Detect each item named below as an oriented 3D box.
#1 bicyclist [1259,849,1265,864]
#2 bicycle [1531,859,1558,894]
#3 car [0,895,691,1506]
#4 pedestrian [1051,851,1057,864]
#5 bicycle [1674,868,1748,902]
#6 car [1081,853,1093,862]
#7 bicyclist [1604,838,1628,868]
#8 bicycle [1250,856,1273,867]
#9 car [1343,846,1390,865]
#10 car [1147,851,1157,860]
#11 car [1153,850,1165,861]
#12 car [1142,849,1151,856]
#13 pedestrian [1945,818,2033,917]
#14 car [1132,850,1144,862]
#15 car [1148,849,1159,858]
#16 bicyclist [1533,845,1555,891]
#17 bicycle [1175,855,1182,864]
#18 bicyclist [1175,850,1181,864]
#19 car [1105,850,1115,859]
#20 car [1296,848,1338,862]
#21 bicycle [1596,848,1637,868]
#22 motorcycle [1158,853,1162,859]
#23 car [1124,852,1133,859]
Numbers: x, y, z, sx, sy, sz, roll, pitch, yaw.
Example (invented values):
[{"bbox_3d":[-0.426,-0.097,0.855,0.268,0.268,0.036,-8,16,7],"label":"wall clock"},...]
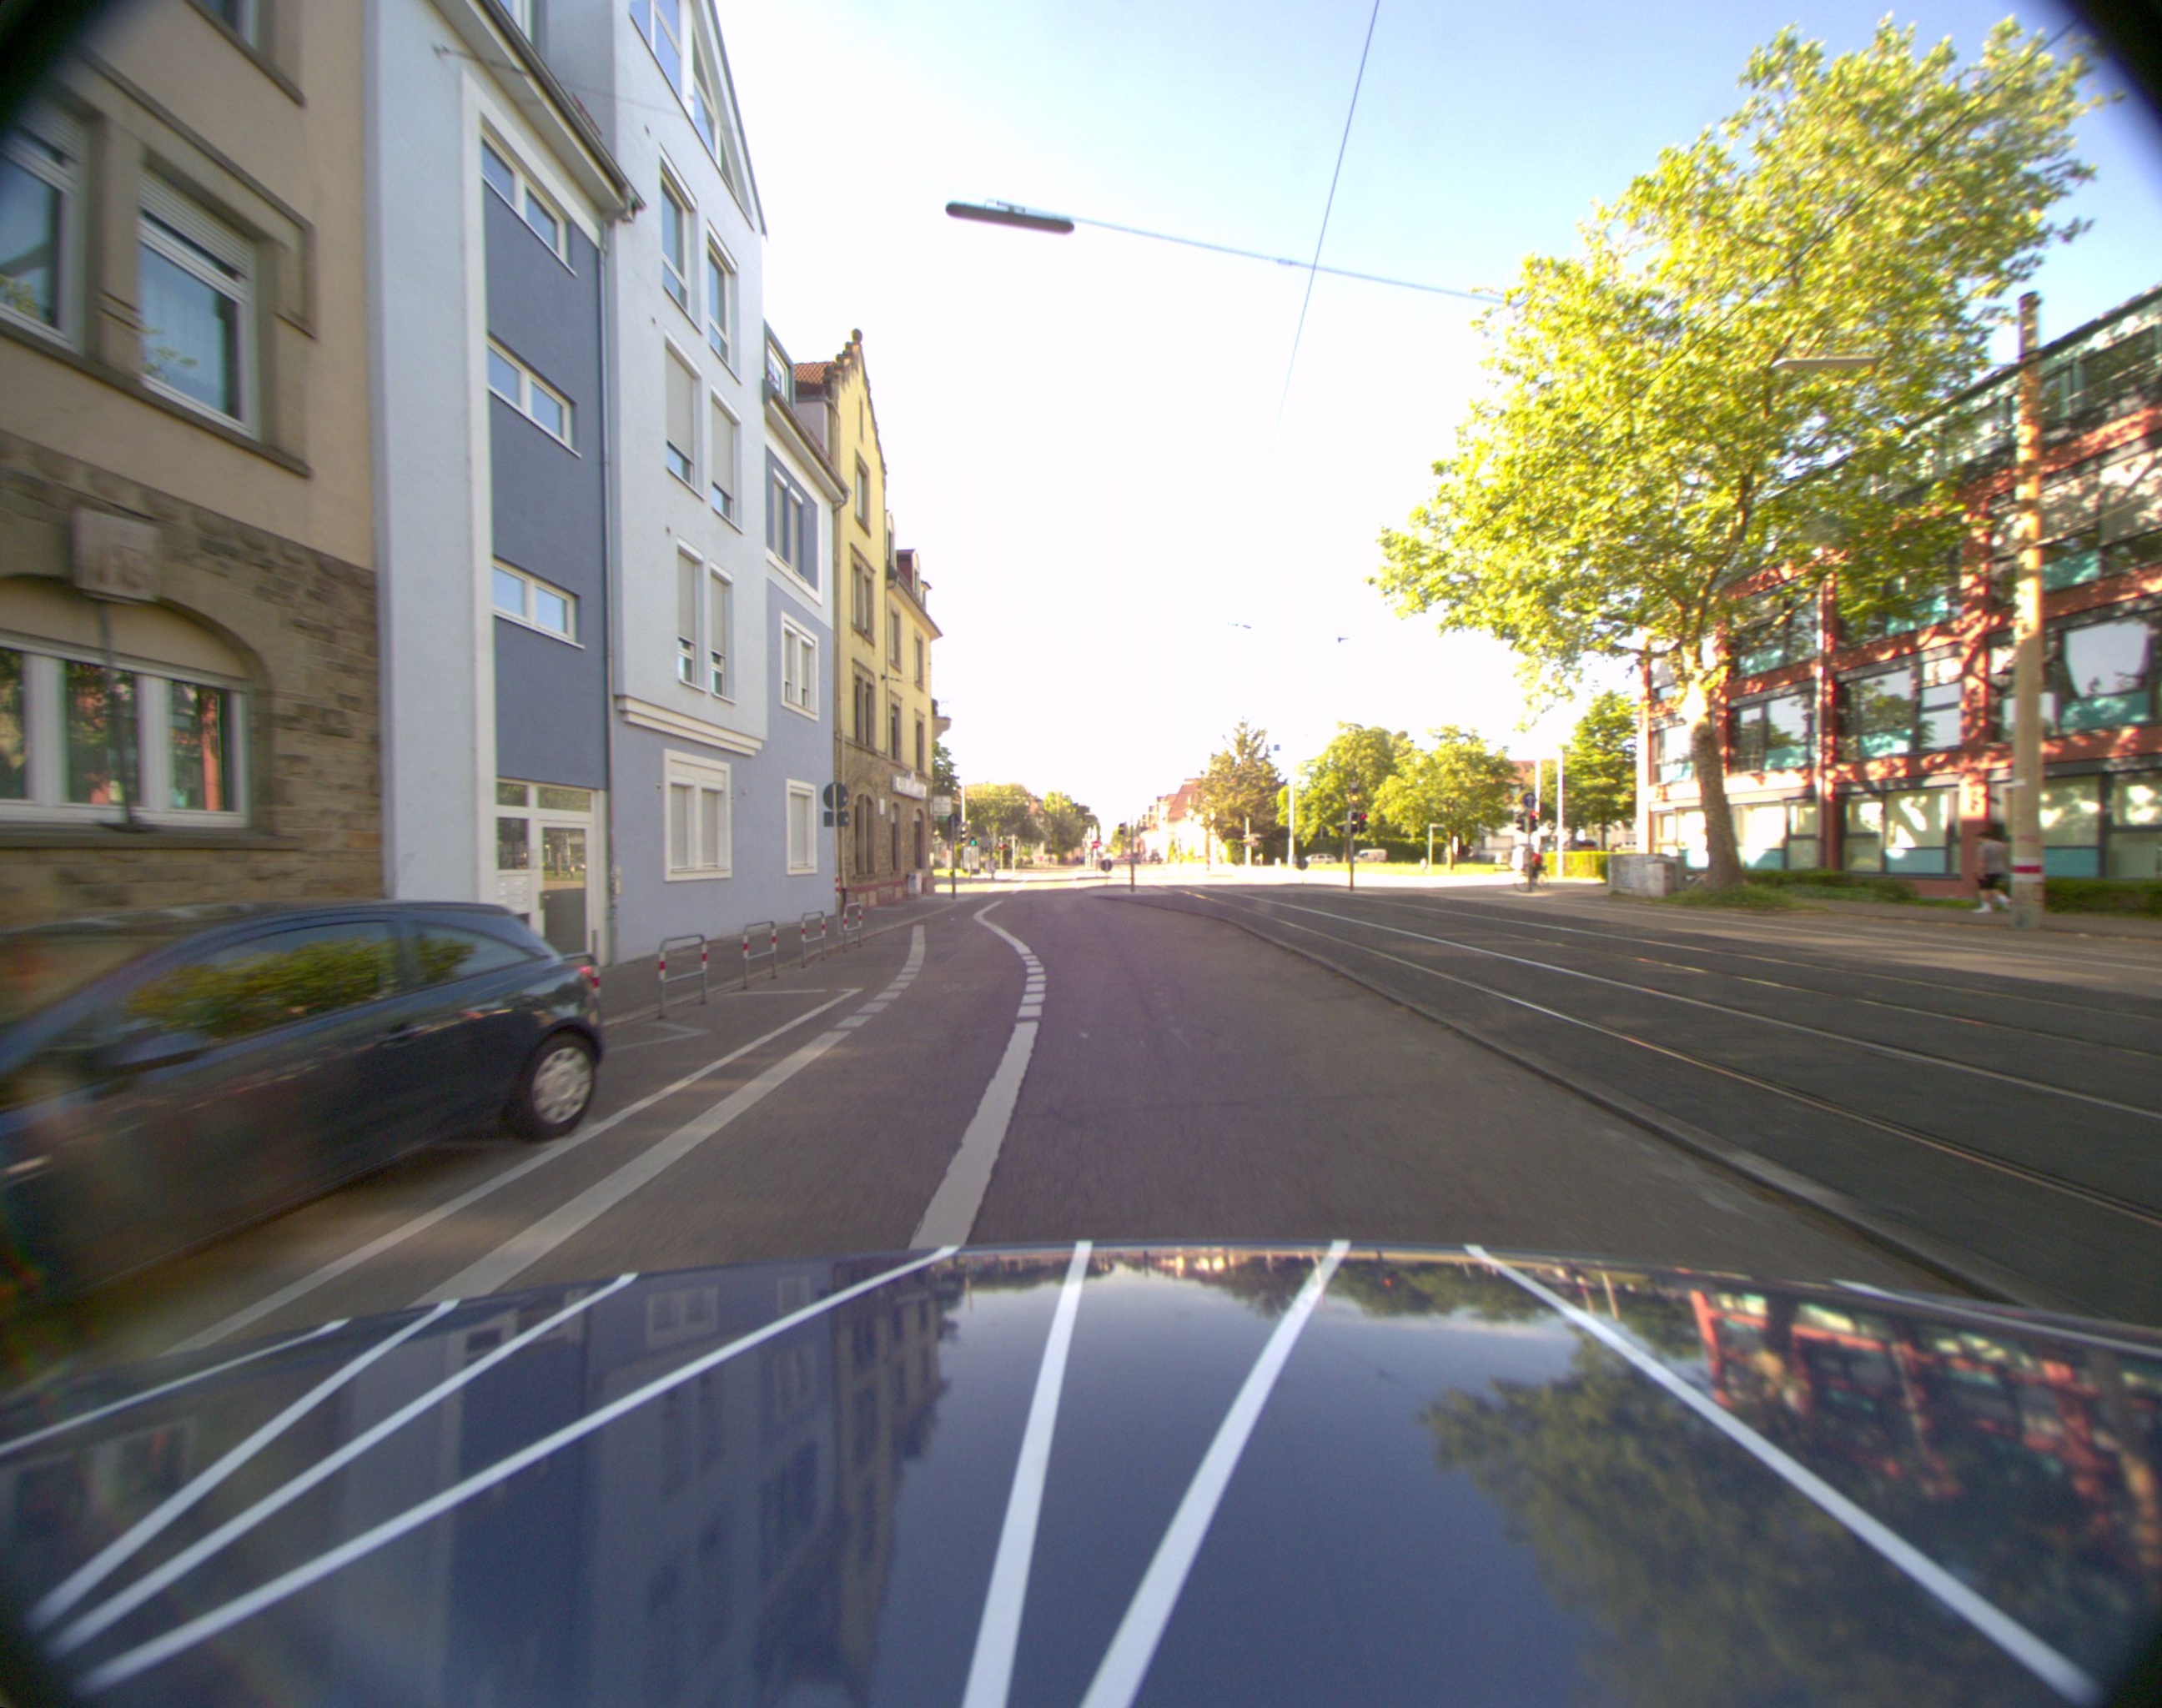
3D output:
[{"bbox_3d":[19.214,0.244,80.477,0.559,1.613,0.899,-1,1,10],"label":"bicyclist"},{"bbox_3d":[17.691,0.851,29.034,0.632,1.123,2.038,-6,1,27],"label":"bicycle"},{"bbox_3d":[-3.768,1.071,3.561,1.659,1.474,4.000,-2,0,2],"label":"car"},{"bbox_3d":[-3.545,0.463,99.034,0.655,1.664,0.943,1,1,5],"label":"pedestrian"},{"bbox_3d":[17.702,0.855,21.394,0.522,0.901,1.541,-1,1,-21],"label":"bicycle"},{"bbox_3d":[1.120,0.619,139.063,1.704,1.541,4.002,-3,0,7],"label":"car"},{"bbox_3d":[28.728,-0.052,40.801,0.647,1.602,0.780,-3,0,-6],"label":"bicyclist"},{"bbox_3d":[19.122,0.756,80.453,2.283,1.111,0.930,-1,1,10],"label":"bicycle"},{"bbox_3d":[30.572,0.150,81.521,4.310,1.856,1.817,-2,1,5],"label":"car"},{"bbox_3d":[14.602,0.240,156.002,1.923,1.705,4.001,-3,0,3],"label":"car"},{"bbox_3d":[14.483,0.218,141.077,1.923,1.890,4.001,-3,0,5],"label":"car"},{"bbox_3d":[15.343,-0.341,177.089,1.923,1.555,4.002,-3,0,6],"label":"car"},{"bbox_3d":[19.240,0.280,16.121,0.913,2.002,0.780,-3,0,-6],"label":"pedestrian"},{"bbox_3d":[9.808,0.395,130.676,2.024,2.001,5.253,0,-1,5],"label":"car"},{"bbox_3d":[15.489,-0.154,162.167,1.923,1.705,4.001,-3,0,3],"label":"car"},{"bbox_3d":[17.659,0.521,29.010,0.605,1.682,0.934,-3,0,27],"label":"bicyclist"},{"bbox_3d":[11.952,0.685,93.402,0.588,1.107,1.826,0,0,0],"label":"bicycle"},{"bbox_3d":[11.948,0.384,93.369,0.588,1.701,0.901,0,0,0],"label":"bicyclist"},{"bbox_3d":[6.420,0.116,169.391,1.923,1.705,4.001,-3,0,5],"label":"car"},{"bbox_3d":[24.622,0.136,79.394,3.994,1.425,1.818,-1,0,8],"label":"car"},{"bbox_3d":[28.680,0.232,40.716,0.647,1.036,1.924,-3,0,-6],"label":"bicycle"},{"bbox_3d":[13.179,0.344,126.428,0.605,1.040,2.438,-3,0,4],"label":"motorcycle"},{"bbox_3d":[12.040,0.414,191.956,1.923,1.705,4.002,-3,0,6],"label":"car"}]
